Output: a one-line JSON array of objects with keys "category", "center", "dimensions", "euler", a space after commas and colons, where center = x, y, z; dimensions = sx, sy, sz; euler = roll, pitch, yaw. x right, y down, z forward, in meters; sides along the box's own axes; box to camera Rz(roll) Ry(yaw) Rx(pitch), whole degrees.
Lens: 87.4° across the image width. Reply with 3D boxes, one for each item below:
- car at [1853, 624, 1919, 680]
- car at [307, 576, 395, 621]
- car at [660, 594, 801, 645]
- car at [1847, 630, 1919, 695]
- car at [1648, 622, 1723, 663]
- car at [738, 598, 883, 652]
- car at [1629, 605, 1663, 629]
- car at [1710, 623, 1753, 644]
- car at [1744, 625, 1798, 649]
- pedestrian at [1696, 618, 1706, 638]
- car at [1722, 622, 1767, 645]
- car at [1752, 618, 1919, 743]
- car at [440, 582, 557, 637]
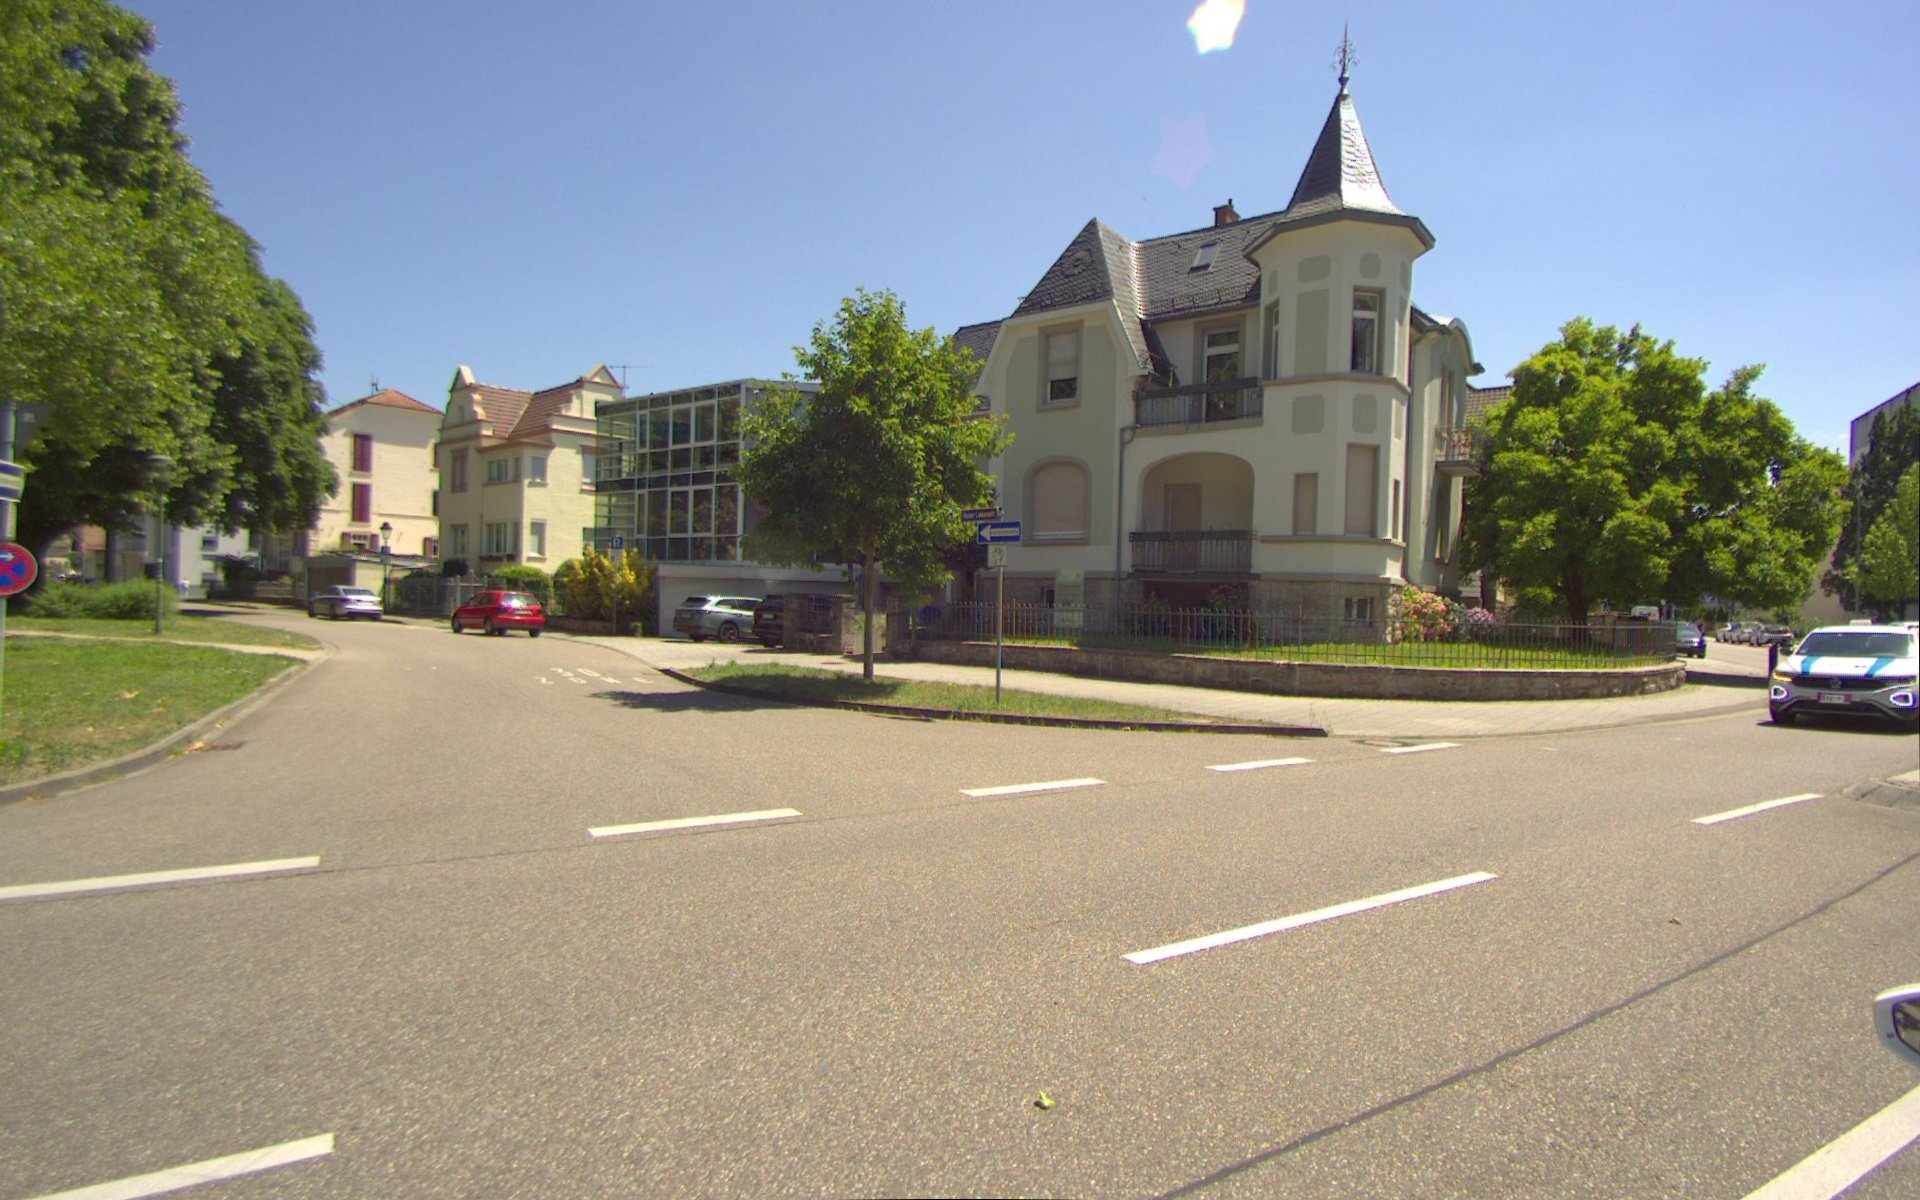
[{"category": "car", "center": [32.236, 1.710, 34.111], "dimensions": [1.910, 1.635, 4.461], "euler": [-6, -4, 31]}, {"category": "car", "center": [-26.237, -0.089, 43.224], "dimensions": [4.439, 1.802, 1.990], "euler": [2, 0, 41]}, {"category": "car", "center": [-7.190, 0.598, 31.708], "dimensions": [1.856, 1.454, 3.974], "euler": [3, 1, 45]}, {"category": "car", "center": [22.850, 1.466, 24.409], "dimensions": [1.737, 1.454, 4.285], "euler": [-1, -2, 39]}, {"category": "car", "center": [30.635, 1.761, 42.540], "dimensions": [1.897, 1.455, 4.651], "euler": [4, 1, 29]}, {"category": "car", "center": [-4.484, 0.743, 30.541], "dimensions": [1.972, 1.445, 3.977], "euler": [3, 1, 43]}, {"category": "car", "center": [65.853, 1.652, 96.536], "dimensions": [2.038, 2.226, 5.132], "euler": [-1, -1, 27]}, {"category": "car", "center": [56.381, 2.418, 73.465], "dimensions": [1.700, 1.401, 4.396], "euler": [0, -1, 27]}, {"category": "car", "center": [51.576, 2.320, 63.937], "dimensions": [1.834, 1.391, 3.995], "euler": [2, 0, 27]}, {"category": "pedestrian", "center": [67.746, 2.571, 91.832], "dimensions": [0.627, 1.782, 0.616], "euler": [1, 0, 24]}, {"category": "car", "center": [54.084, 2.301, 69.312], "dimensions": [1.633, 1.508, 4.340], "euler": [0, -1, 27]}, {"category": "car", "center": [14.460, 1.158, 16.147], "dimensions": [4.268, 1.645, 1.857], "euler": [0, 1, -40]}, {"category": "car", "center": [-15.227, 0.269, 33.024], "dimensions": [4.443, 1.640, 1.988], "euler": [2, 0, 44]}]
